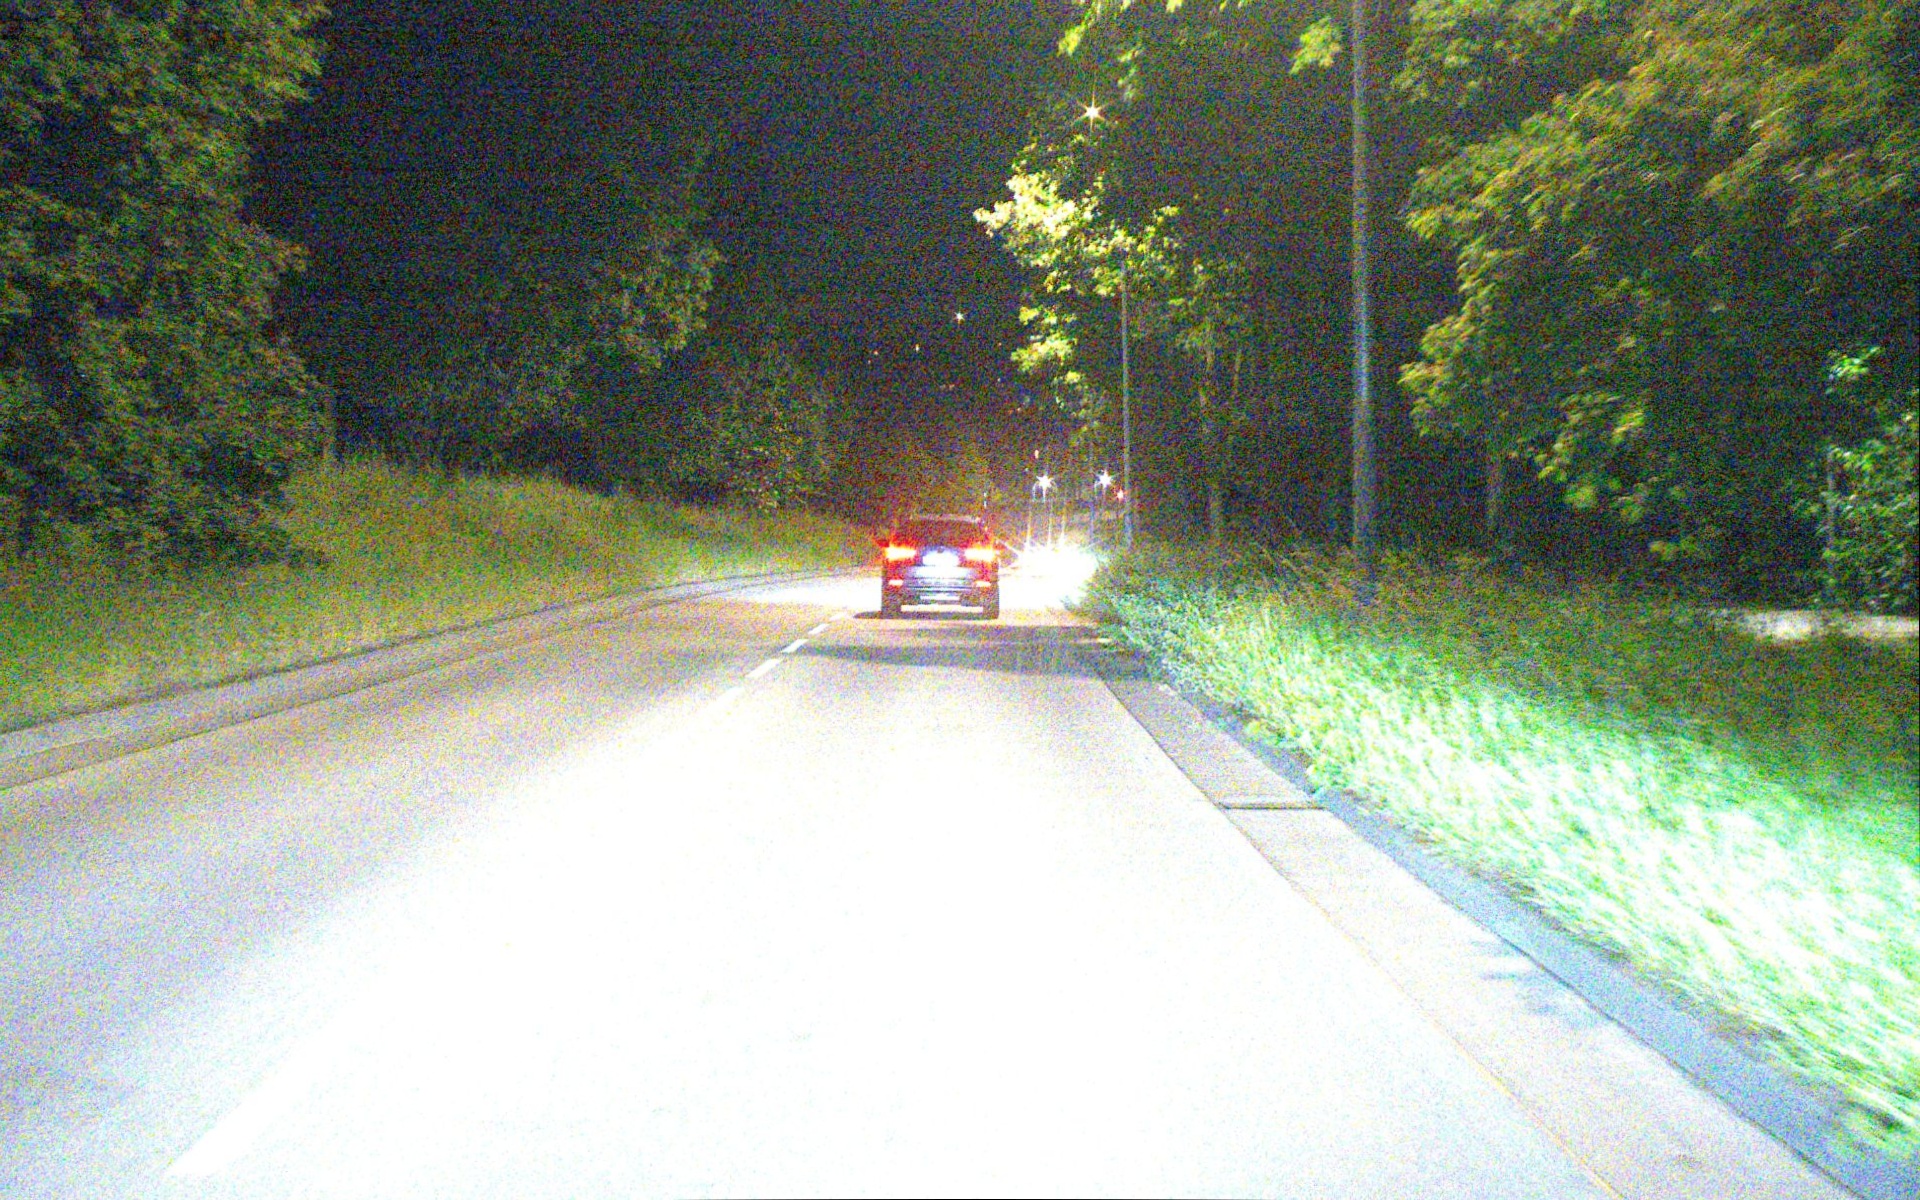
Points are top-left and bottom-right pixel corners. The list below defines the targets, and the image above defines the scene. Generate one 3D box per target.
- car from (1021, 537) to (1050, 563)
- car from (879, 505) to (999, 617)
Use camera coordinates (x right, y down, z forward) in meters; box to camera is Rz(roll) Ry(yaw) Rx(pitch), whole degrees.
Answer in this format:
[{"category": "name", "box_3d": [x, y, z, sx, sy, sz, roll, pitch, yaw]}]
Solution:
[{"category": "car", "box_3d": [4.484, -2.973, 205.004, 1.687, 1.452, 4.000, 1, 1, 1]}, {"category": "car", "box_3d": [-0.336, -0.630, 53.166, 1.763, 1.636, 3.723, 1, 2, -1]}]
